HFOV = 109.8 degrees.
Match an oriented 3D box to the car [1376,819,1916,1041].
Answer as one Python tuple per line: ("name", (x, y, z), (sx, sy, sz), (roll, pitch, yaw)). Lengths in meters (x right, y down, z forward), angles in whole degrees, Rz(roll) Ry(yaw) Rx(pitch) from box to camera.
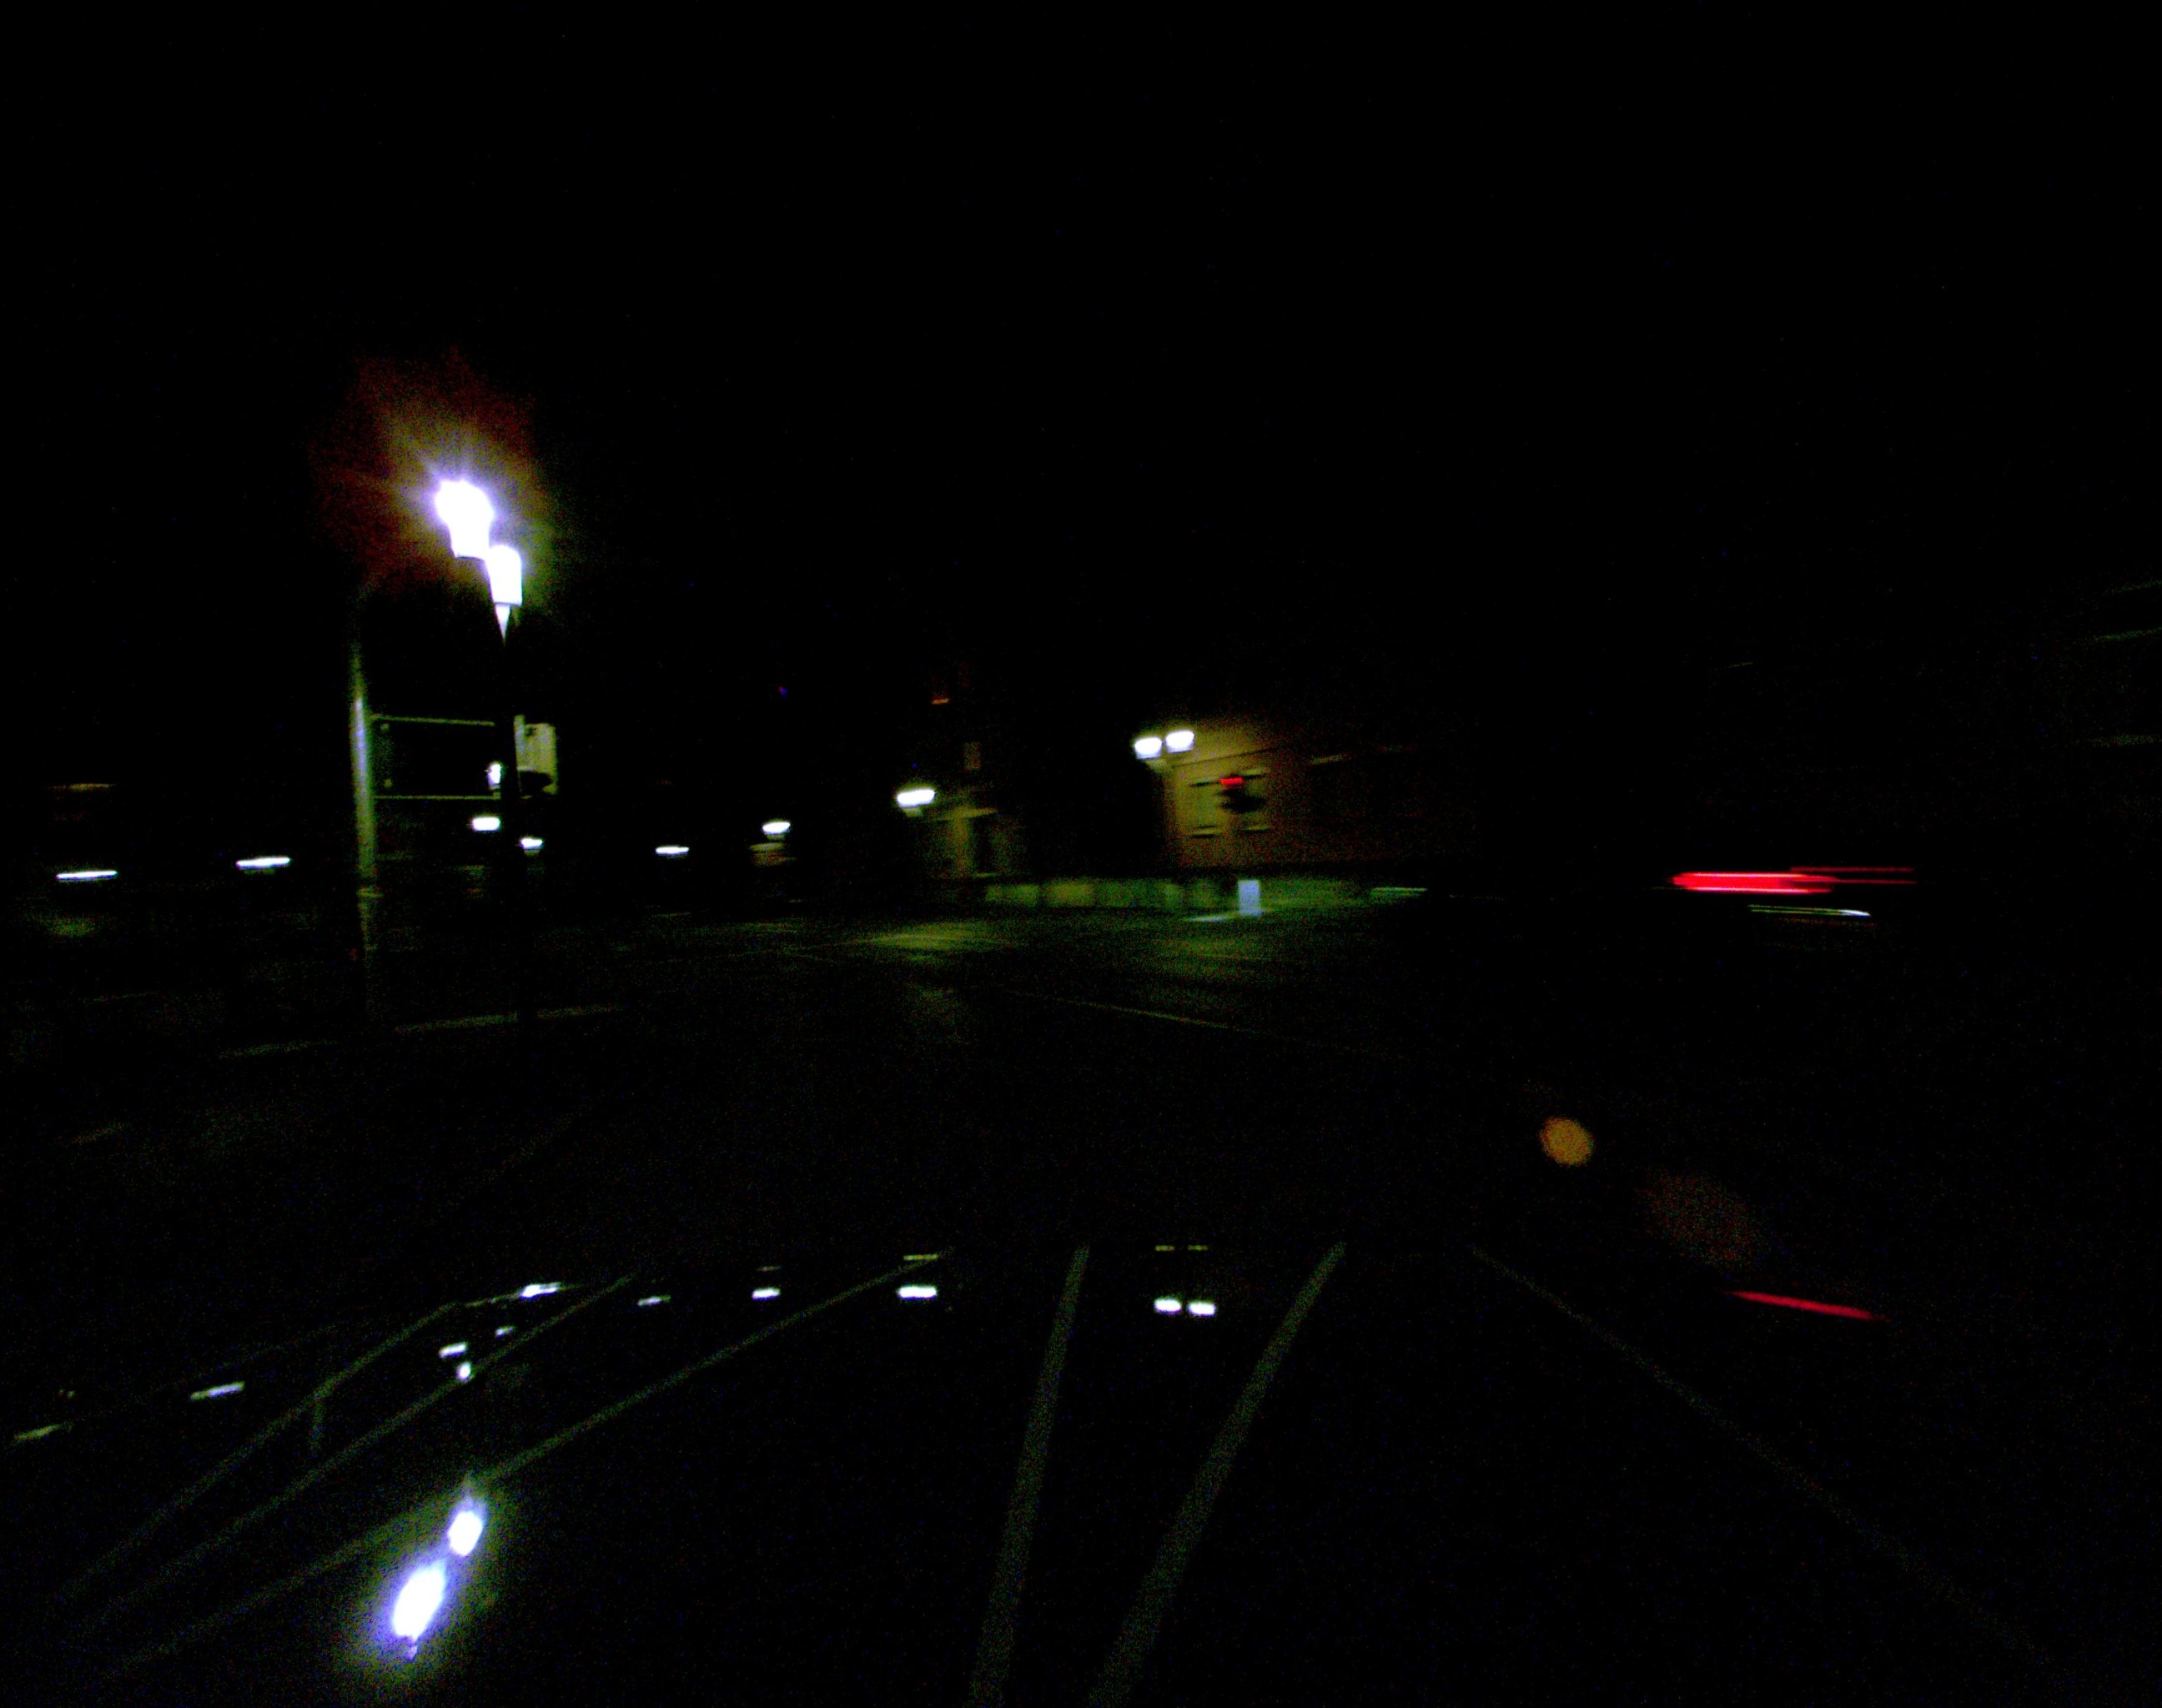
("car", (5.277, 0.601, 7.927), (1.743, 1.575, 4.237), (-4, 0, -18))
